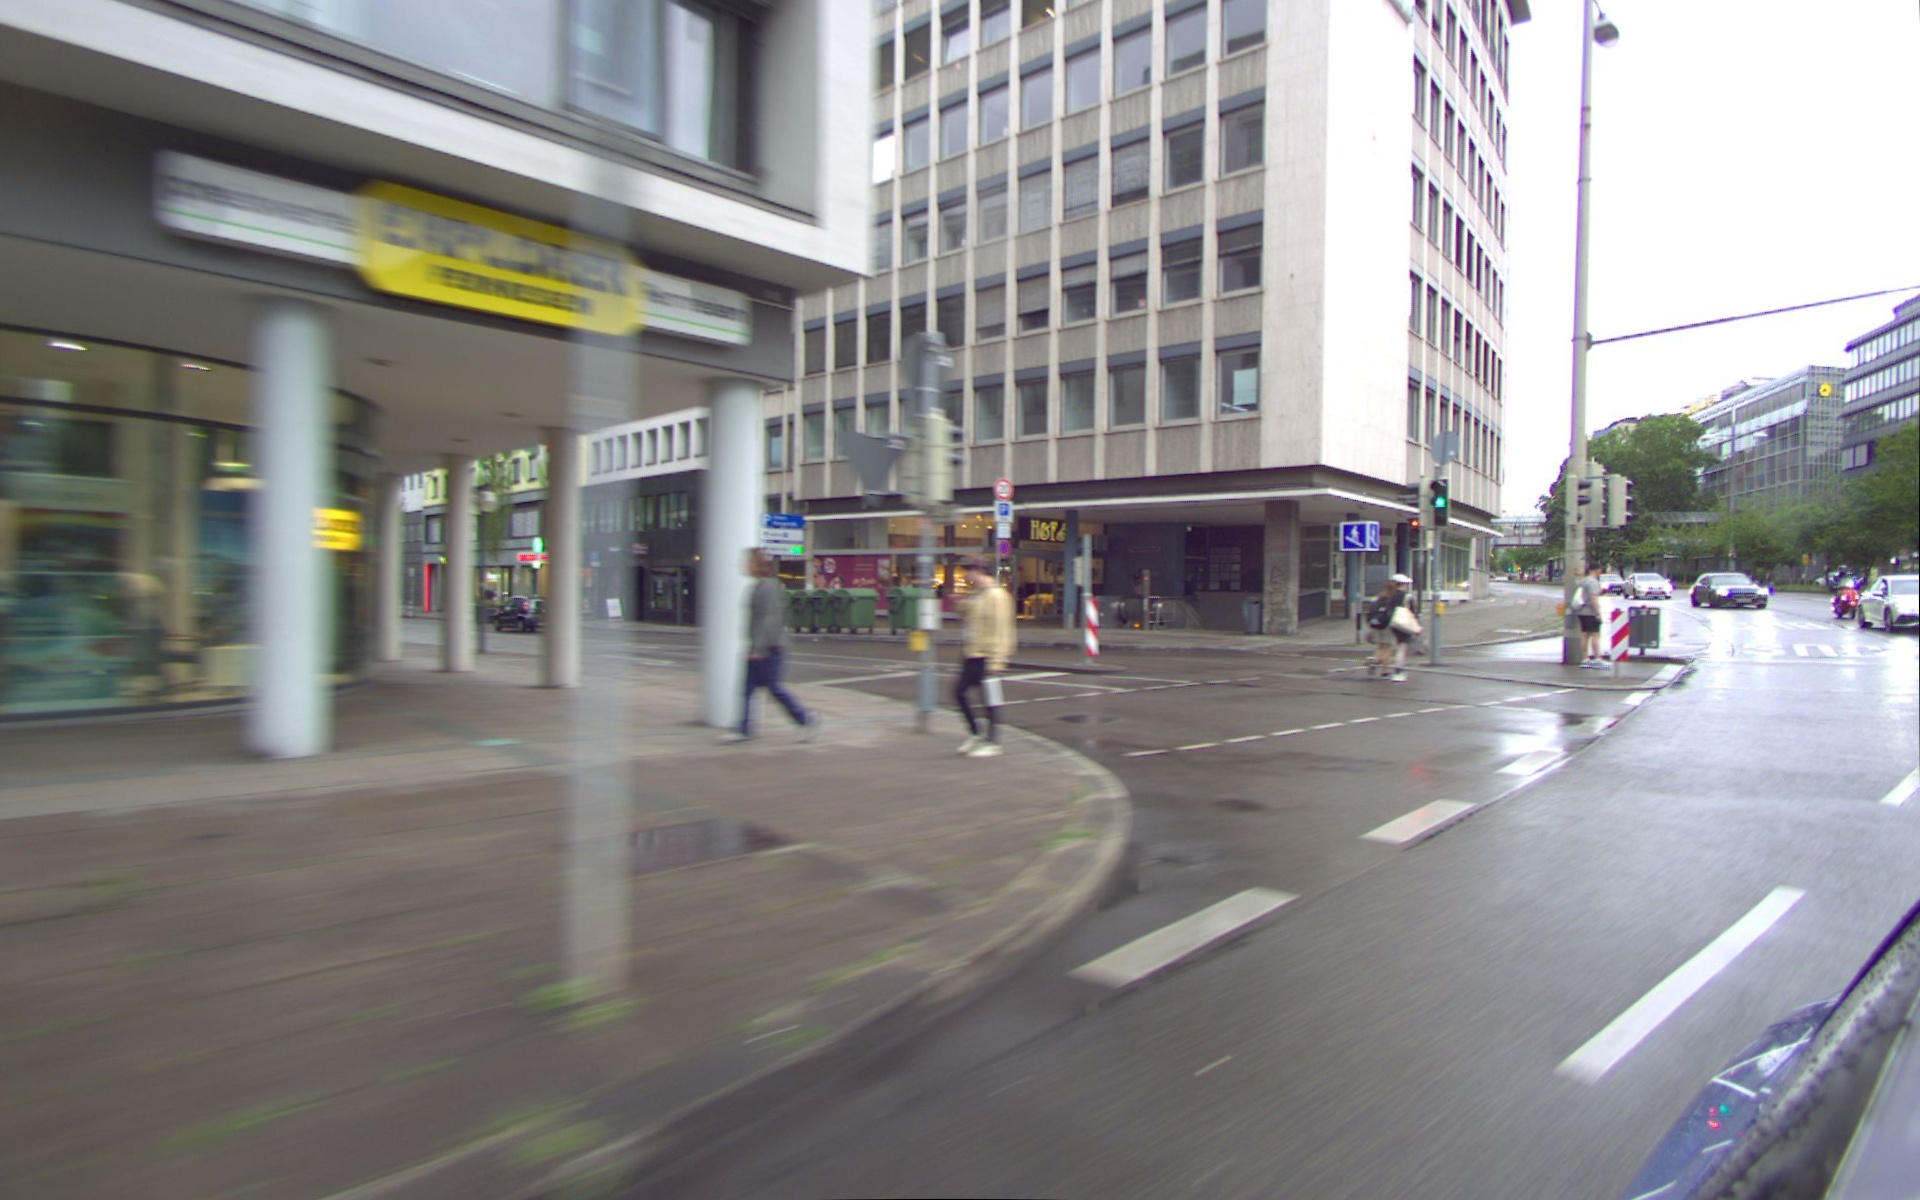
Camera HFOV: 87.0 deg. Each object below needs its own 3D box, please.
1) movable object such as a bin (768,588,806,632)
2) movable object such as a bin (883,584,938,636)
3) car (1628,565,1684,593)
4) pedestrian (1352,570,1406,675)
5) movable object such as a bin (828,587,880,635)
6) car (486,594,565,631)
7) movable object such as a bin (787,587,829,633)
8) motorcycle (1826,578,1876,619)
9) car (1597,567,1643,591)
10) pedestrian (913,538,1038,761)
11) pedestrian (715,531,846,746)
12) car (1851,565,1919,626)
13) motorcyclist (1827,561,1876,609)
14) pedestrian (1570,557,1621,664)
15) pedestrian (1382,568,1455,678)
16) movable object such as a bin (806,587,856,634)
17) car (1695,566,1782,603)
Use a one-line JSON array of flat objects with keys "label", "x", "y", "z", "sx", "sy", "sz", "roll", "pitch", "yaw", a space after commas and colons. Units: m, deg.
[{"label": "movable object such as a bin", "x": -5.932, "y": 0.342, "z": 34.694, "sx": 0.865, "sy": 1.478, "sz": 0.955, "roll": -1, "pitch": 0, "yaw": 39}, {"label": "movable object such as a bin", "x": -1.515, "y": 0.305, "z": 30.924, "sx": 0.984, "sy": 1.530, "sz": 1.371, "roll": -1, "pitch": 0, "yaw": 45}, {"label": "car", "x": 39.920, "y": -1.198, "z": 58.130, "sx": 1.872, "sy": 1.504, "sz": 3.969, "roll": -1, "pitch": 1, "yaw": 23}, {"label": "pedestrian", "x": 6.652, "y": 0.338, "z": 16.054, "sx": 0.719, "sy": 1.618, "sz": 0.526, "roll": -1, "pitch": 0, "yaw": -44}, {"label": "movable object such as a bin", "x": -3.391, "y": 0.354, "z": 32.408, "sx": 0.982, "sy": 1.478, "sz": 1.351, "roll": -1, "pitch": 0, "yaw": 39}, {"label": "car", "x": -17.496, "y": 0.490, "z": 40.680, "sx": 1.647, "sy": 1.408, "sz": 3.990, "roll": -2, "pitch": 1, "yaw": -43}, {"label": "movable object such as a bin", "x": -5.071, "y": 0.333, "z": 33.693, "sx": 0.982, "sy": 1.478, "sz": 0.949, "roll": -1, "pitch": 0, "yaw": 39}, {"label": "motorcycle", "x": 29.232, "y": -0.070, "z": 33.242, "sx": 1.125, "sy": 1.282, "sz": 3.326, "roll": -1, "pitch": 1, "yaw": 40}, {"label": "car", "x": 44.321, "y": -1.408, "z": 68.061, "sx": 1.872, "sy": 1.504, "sz": 3.969, "roll": -1, "pitch": 1, "yaw": 23}, {"label": "pedestrian", "x": 0.137, "y": 0.402, "z": 8.719, "sx": 0.864, "sy": 1.805, "sz": 0.641, "roll": 1, "pitch": -1, "yaw": -38}, {"label": "pedestrian", "x": -1.620, "y": 0.328, "z": 9.115, "sx": 0.879, "sy": 1.805, "sz": 0.793, "roll": 1, "pitch": -1, "yaw": -41}, {"label": "car", "x": 25.120, "y": -0.163, "z": 26.468, "sx": 1.673, "sy": 1.505, "sz": 3.965, "roll": -1, "pitch": 1, "yaw": 26}, {"label": "motorcyclist", "x": 29.078, "y": -0.475, "z": 33.030, "sx": 1.147, "sy": 1.529, "sz": 1.180, "roll": -1, "pitch": 0, "yaw": 40}, {"label": "pedestrian", "x": 10.678, "y": 0.161, "z": 16.990, "sx": 0.650, "sy": 1.748, "sz": 0.806, "roll": -1, "pitch": 0, "yaw": 36}, {"label": "pedestrian", "x": 7.032, "y": 0.324, "z": 15.507, "sx": 1.041, "sy": 1.618, "sz": 0.652, "roll": -1, "pitch": 0, "yaw": -44}, {"label": "movable object such as a bin", "x": -4.222, "y": 0.334, "z": 33.057, "sx": 0.982, "sy": 1.478, "sz": 1.290, "roll": -1, "pitch": 0, "yaw": 39}, {"label": "car", "x": 33.050, "y": -0.661, "z": 43.085, "sx": 1.871, "sy": 1.504, "sz": 3.971, "roll": -1, "pitch": 1, "yaw": 22}]
